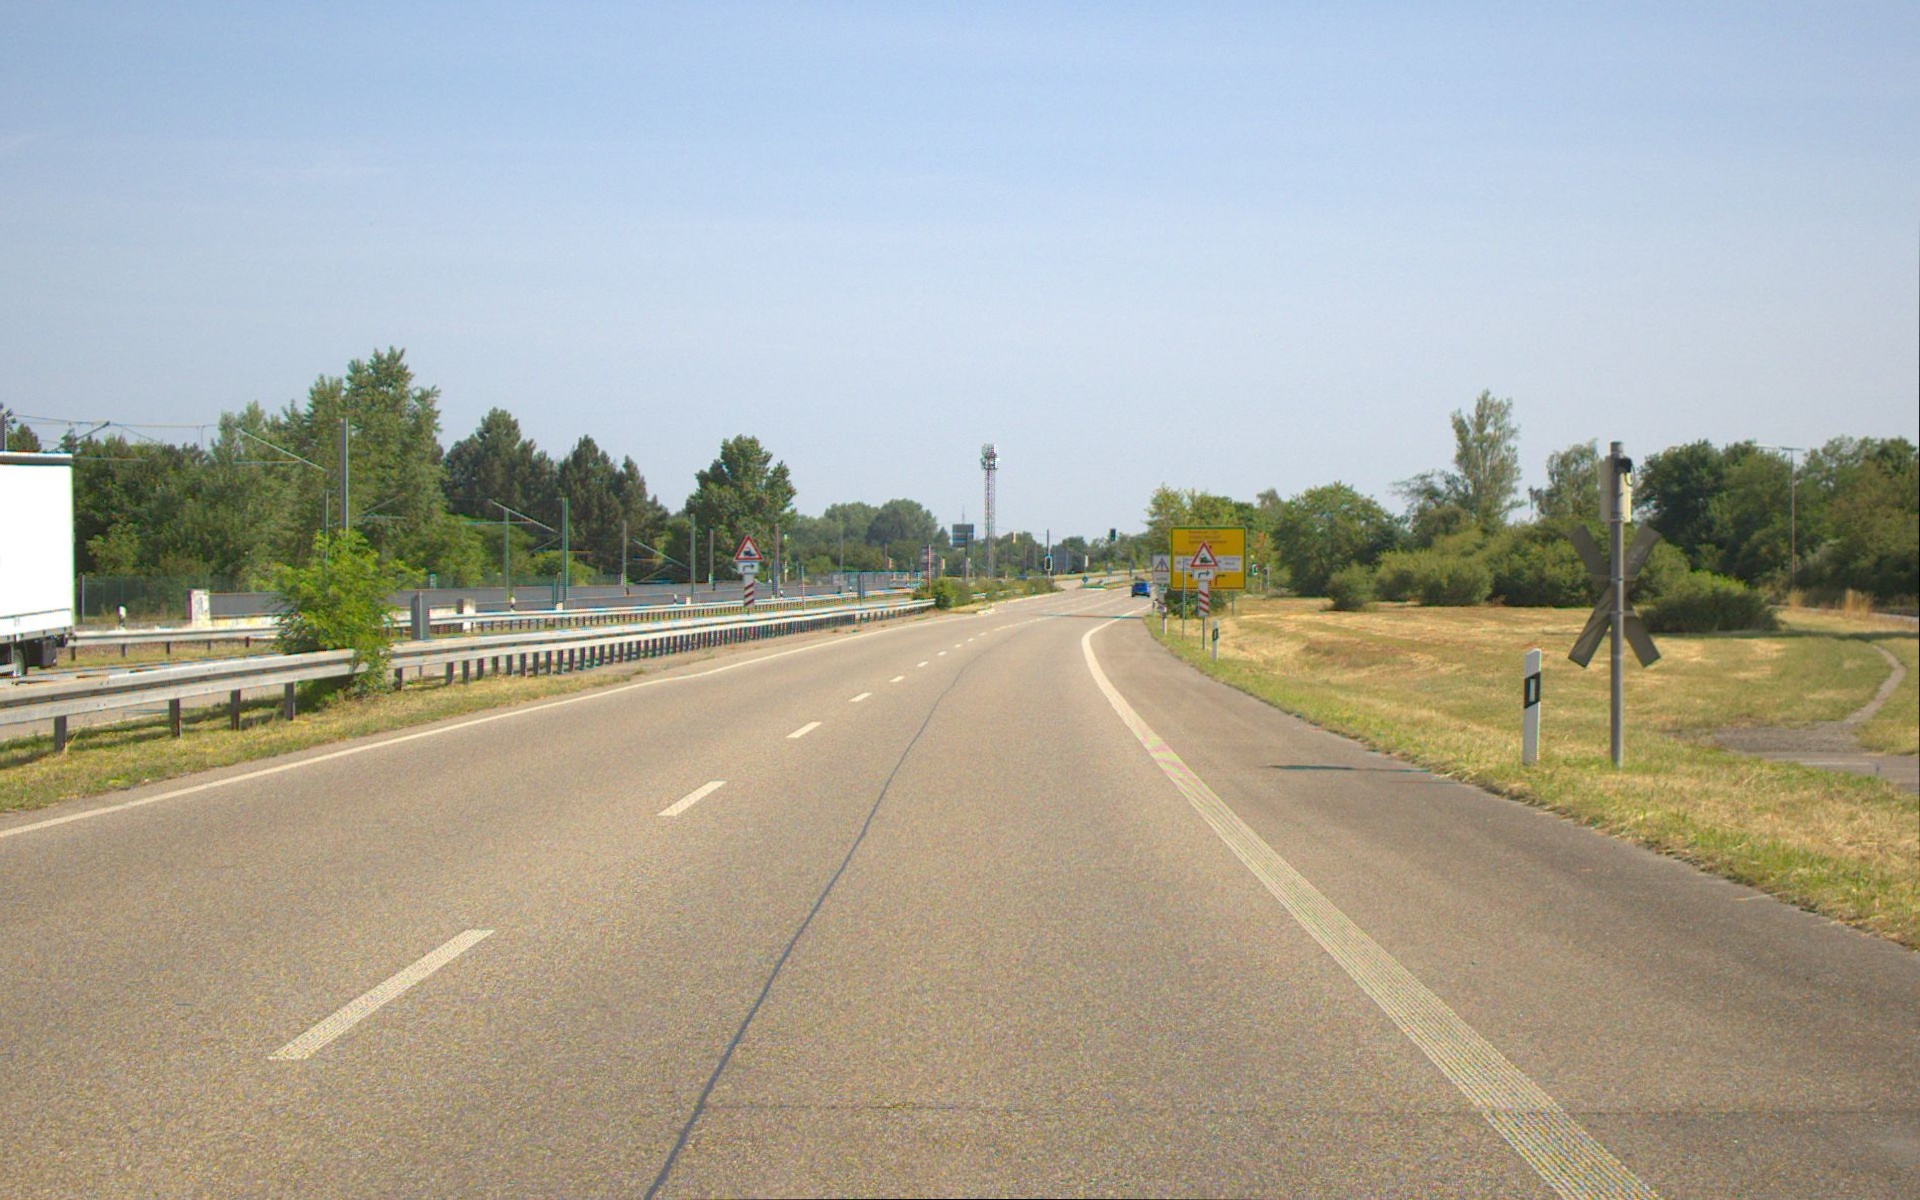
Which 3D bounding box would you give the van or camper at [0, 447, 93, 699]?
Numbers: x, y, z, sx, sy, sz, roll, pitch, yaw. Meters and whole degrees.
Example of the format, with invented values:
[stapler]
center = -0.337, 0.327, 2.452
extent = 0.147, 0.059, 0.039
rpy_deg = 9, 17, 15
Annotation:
[van or camper]
center = -15.414, -0.391, 50.352
extent = 2.876, 3.668, 8.643
rpy_deg = 0, 0, 3
